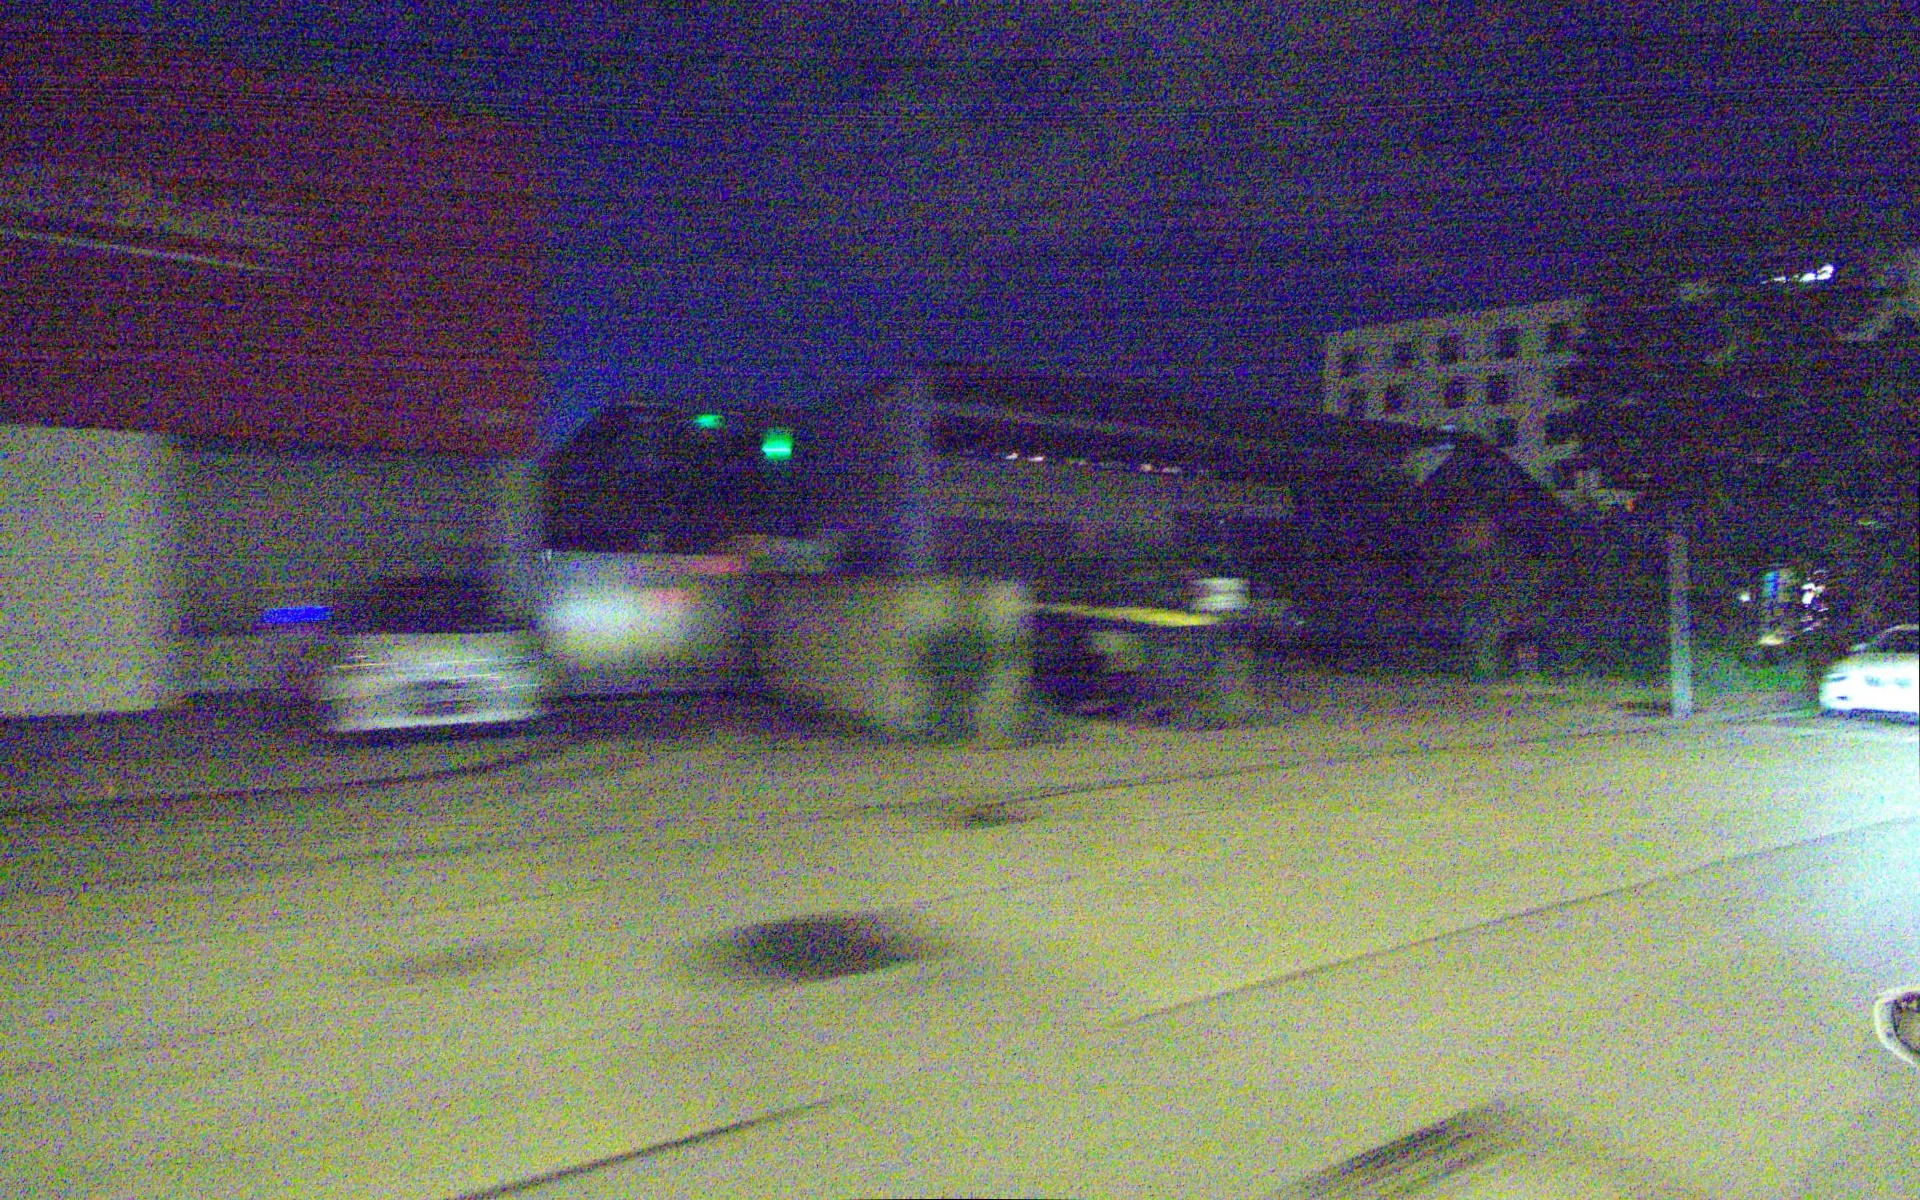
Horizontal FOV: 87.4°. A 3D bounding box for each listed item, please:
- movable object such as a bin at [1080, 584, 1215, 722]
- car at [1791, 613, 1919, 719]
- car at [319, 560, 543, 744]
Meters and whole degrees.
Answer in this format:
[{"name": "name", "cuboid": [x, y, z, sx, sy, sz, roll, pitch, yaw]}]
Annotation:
[{"name": "movable object such as a bin", "cuboid": [2.193, 0.588, 11.814, 1.054, 1.516, 1.158, 1, 0, -33]}, {"name": "car", "cuboid": [14.601, 0.924, 15.078, 4.285, 1.422, 1.903, 1, 0, -30]}, {"name": "car", "cuboid": [-5.733, 0.476, 10.862, 1.795, 1.592, 3.969, 1, -1, -30]}]
